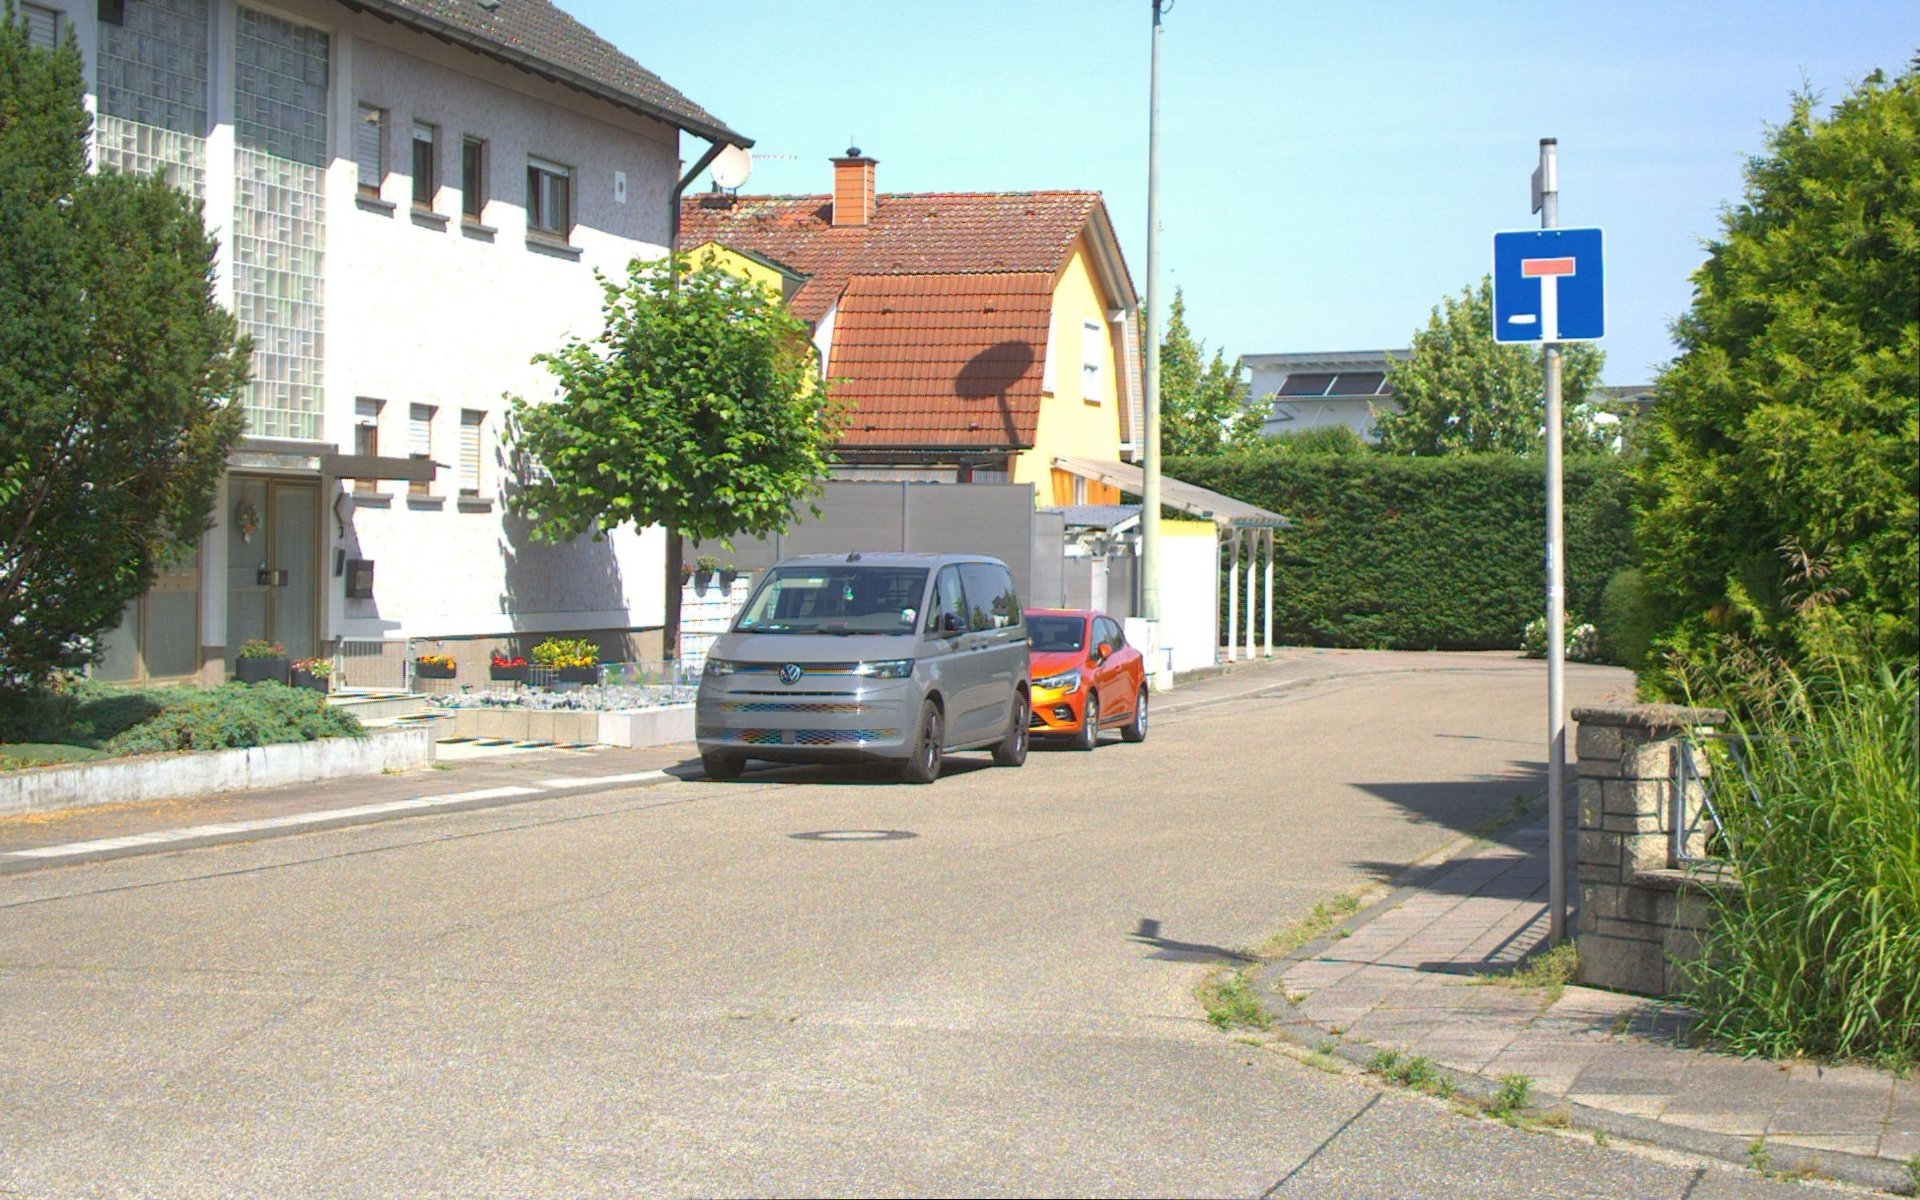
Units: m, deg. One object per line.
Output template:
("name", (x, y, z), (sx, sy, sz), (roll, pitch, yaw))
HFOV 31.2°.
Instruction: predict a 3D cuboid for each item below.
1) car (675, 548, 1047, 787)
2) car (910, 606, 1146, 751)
("car", (-0.751, 0.498, 29.393), (1.902, 1.863, 4.368), (1, 1, 17))
("car", (0.764, 0.772, 35.710), (1.653, 1.360, 3.776), (1, 1, 14))
